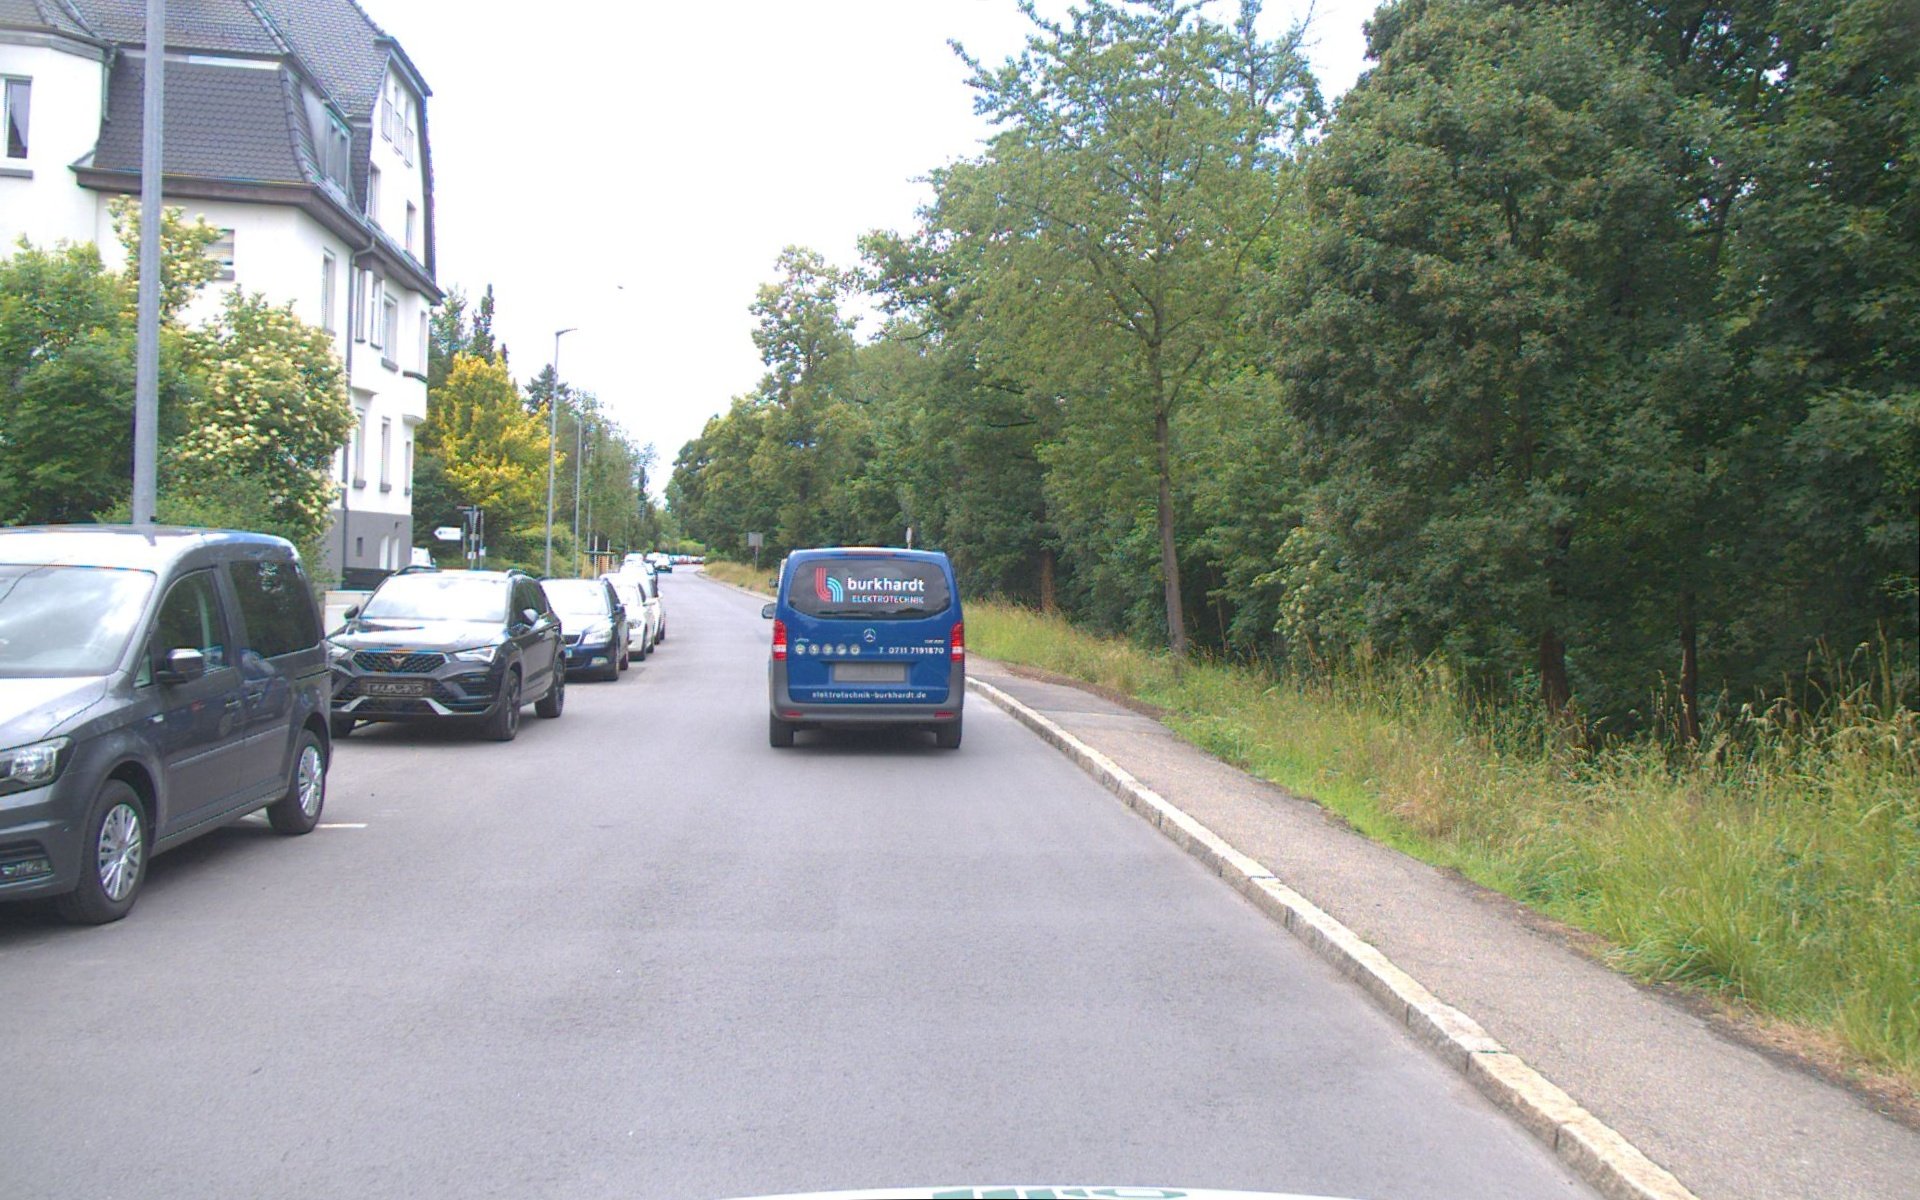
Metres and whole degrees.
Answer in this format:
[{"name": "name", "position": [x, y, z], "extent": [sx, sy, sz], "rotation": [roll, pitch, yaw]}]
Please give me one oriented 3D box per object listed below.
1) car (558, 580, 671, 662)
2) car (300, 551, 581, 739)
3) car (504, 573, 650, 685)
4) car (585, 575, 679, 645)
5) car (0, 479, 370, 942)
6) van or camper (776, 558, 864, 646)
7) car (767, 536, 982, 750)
[{"name": "car", "position": [-6.422, 0.353, 31.077], "extent": [1.576, 1.366, 3.853], "rotation": [1, 1, -5]}, {"name": "car", "position": [-5.127, 0.391, 16.911], "extent": [1.780, 1.644, 4.220], "rotation": [1, 0, -4]}, {"name": "car", "position": [-5.806, 0.381, 25.457], "extent": [1.576, 1.539, 3.853], "rotation": [1, 1, -4]}, {"name": "car", "position": [-7.319, 0.189, 37.206], "extent": [1.576, 1.432, 3.853], "rotation": [1, 1, -4]}, {"name": "car", "position": [-4.594, 0.384, 8.568], "extent": [1.710, 1.795, 4.410], "rotation": [2, 0, -4]}, {"name": "van or camper", "position": [-3.463, -0.007, 40.143], "extent": [1.981, 1.991, 4.890], "rotation": [0, 1, -7]}, {"name": "car", "position": [-0.948, 0.394, 16.899], "extent": [1.876, 1.870, 4.289], "rotation": [1, 0, -5]}]
